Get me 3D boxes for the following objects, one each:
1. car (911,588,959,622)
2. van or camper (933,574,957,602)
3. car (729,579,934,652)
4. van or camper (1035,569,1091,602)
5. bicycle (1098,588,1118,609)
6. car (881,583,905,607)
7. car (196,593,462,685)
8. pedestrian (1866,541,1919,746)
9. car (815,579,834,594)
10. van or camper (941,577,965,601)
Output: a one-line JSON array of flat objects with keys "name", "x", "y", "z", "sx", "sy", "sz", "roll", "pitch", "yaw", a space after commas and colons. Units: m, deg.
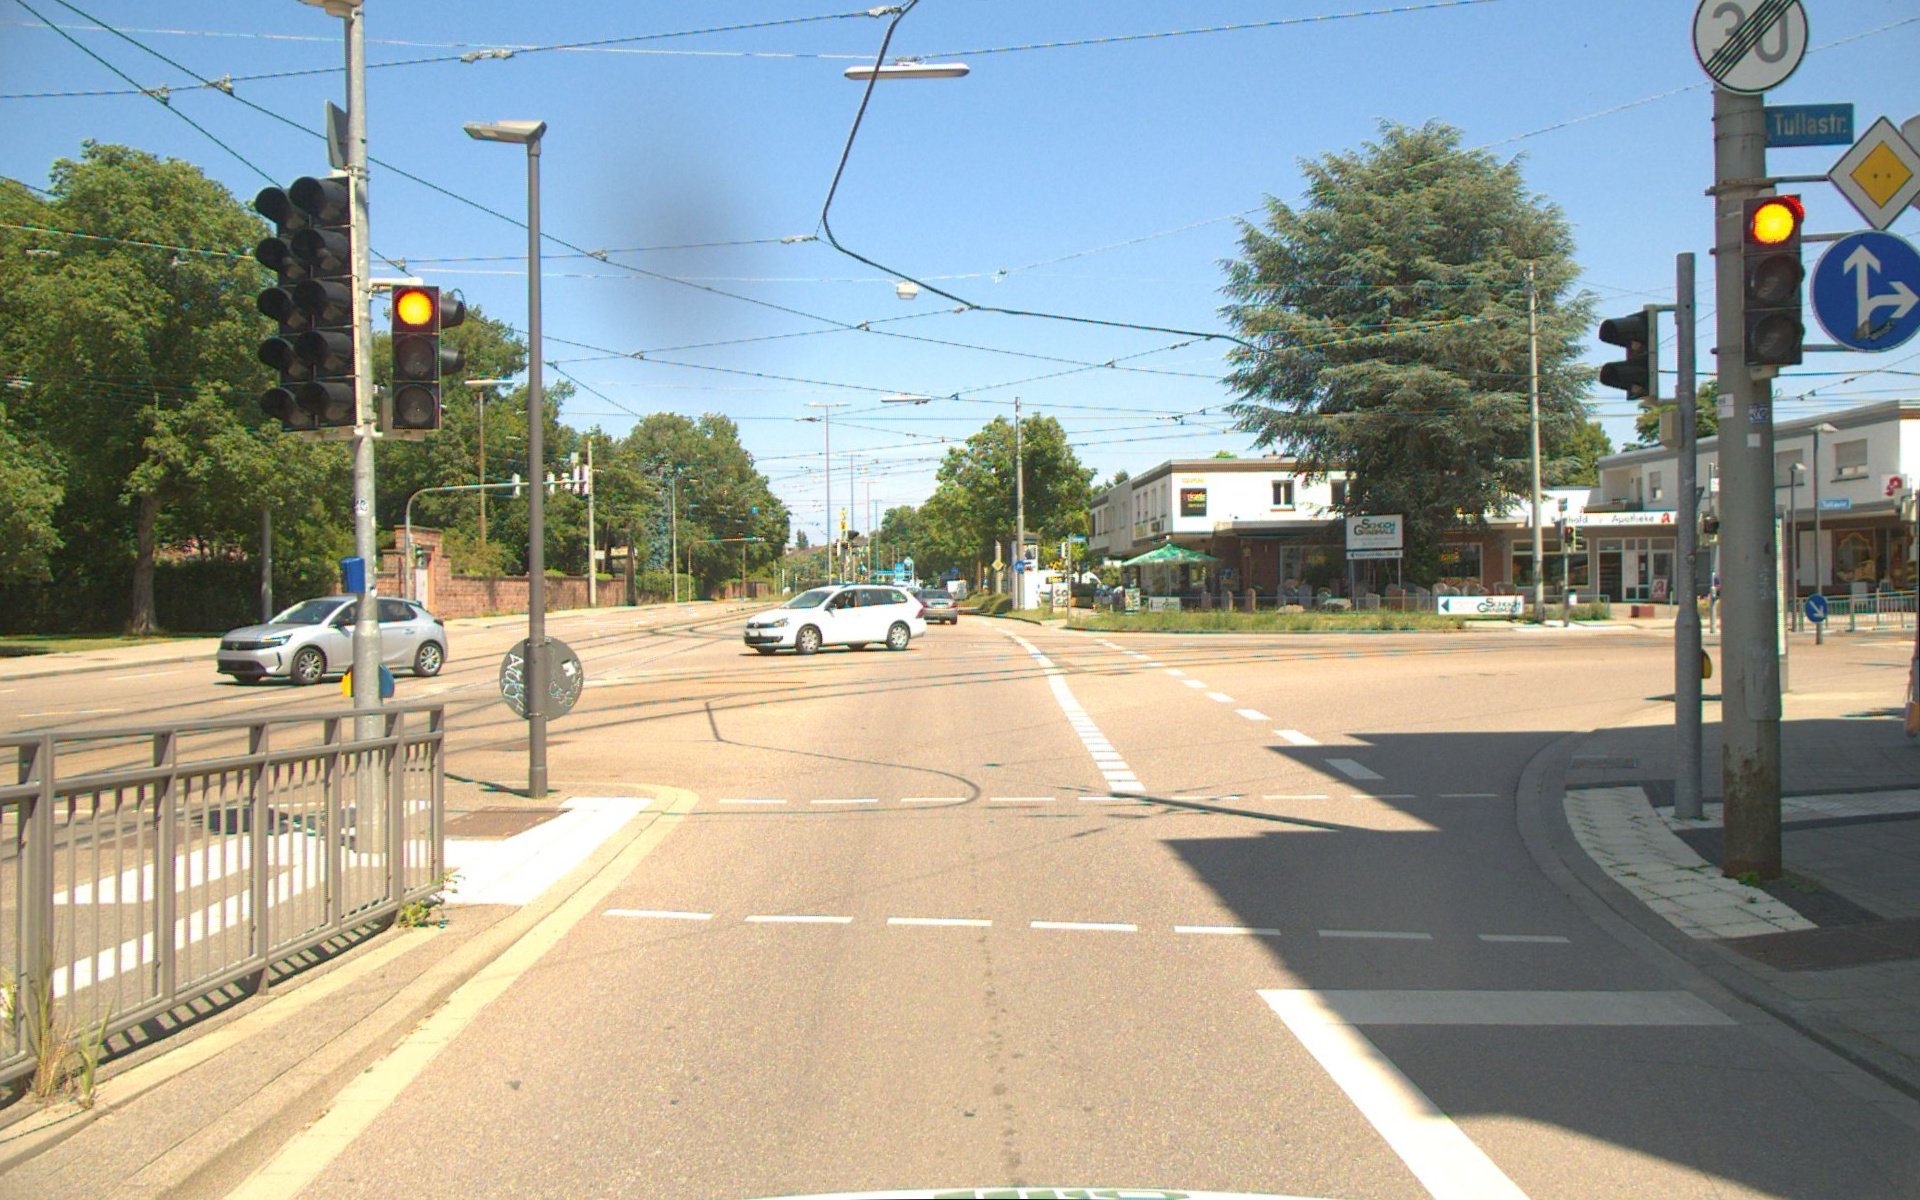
[{"name": "car", "x": -1.077, "y": 0.200, "z": 69.374, "sx": 1.606, "sy": 1.375, "sz": 3.835, "roll": -1, "pitch": 0, "yaw": -8}, {"name": "van or camper", "x": -1.393, "y": -1.102, "z": 152.812, "sx": 1.954, "sy": 2.507, "sz": 3.997, "roll": -1, "pitch": 0, "yaw": -4}, {"name": "car", "x": -2.836, "y": 0.312, "z": 37.123, "sx": 4.463, "sy": 1.516, "sz": 1.795, "roll": -1, "pitch": 1, "yaw": -43}, {"name": "van or camper", "x": 8.931, "y": -1.256, "z": 143.527, "sx": 4.662, "sy": 2.717, "sz": 2.134, "roll": -1, "pitch": 0, "yaw": -3}, {"name": "bicycle", "x": 7.568, "y": -0.098, "z": 84.580, "sx": 1.012, "sy": 1.032, "sz": 2.639, "roll": -1, "pitch": 0, "yaw": 5}, {"name": "car", "x": -5.613, "y": -0.430, "z": 137.815, "sx": 1.954, "sy": 1.892, "sz": 3.997, "roll": -1, "pitch": 0, "yaw": -3}, {"name": "car", "x": -10.745, "y": 0.635, "z": 28.429, "sx": 1.784, "sy": 1.386, "sz": 4.044, "roll": -2, "pitch": 0, "yaw": 30}, {"name": "pedestrian", "x": 7.971, "y": 0.319, "z": 13.320, "sx": 0.809, "sy": 1.611, "sz": 0.827, "roll": -4, "pitch": 0, "yaw": 5}, {"name": "car", "x": -15.313, "y": -1.528, "z": 187.123, "sx": 1.783, "sy": 1.631, "sz": 4.520, "roll": 0, "pitch": 1, "yaw": -1}, {"name": "van or camper", "x": -0.575, "y": -0.863, "z": 130.355, "sx": 1.883, "sy": 1.803, "sz": 3.999, "roll": -1, "pitch": 0, "yaw": -1}]
